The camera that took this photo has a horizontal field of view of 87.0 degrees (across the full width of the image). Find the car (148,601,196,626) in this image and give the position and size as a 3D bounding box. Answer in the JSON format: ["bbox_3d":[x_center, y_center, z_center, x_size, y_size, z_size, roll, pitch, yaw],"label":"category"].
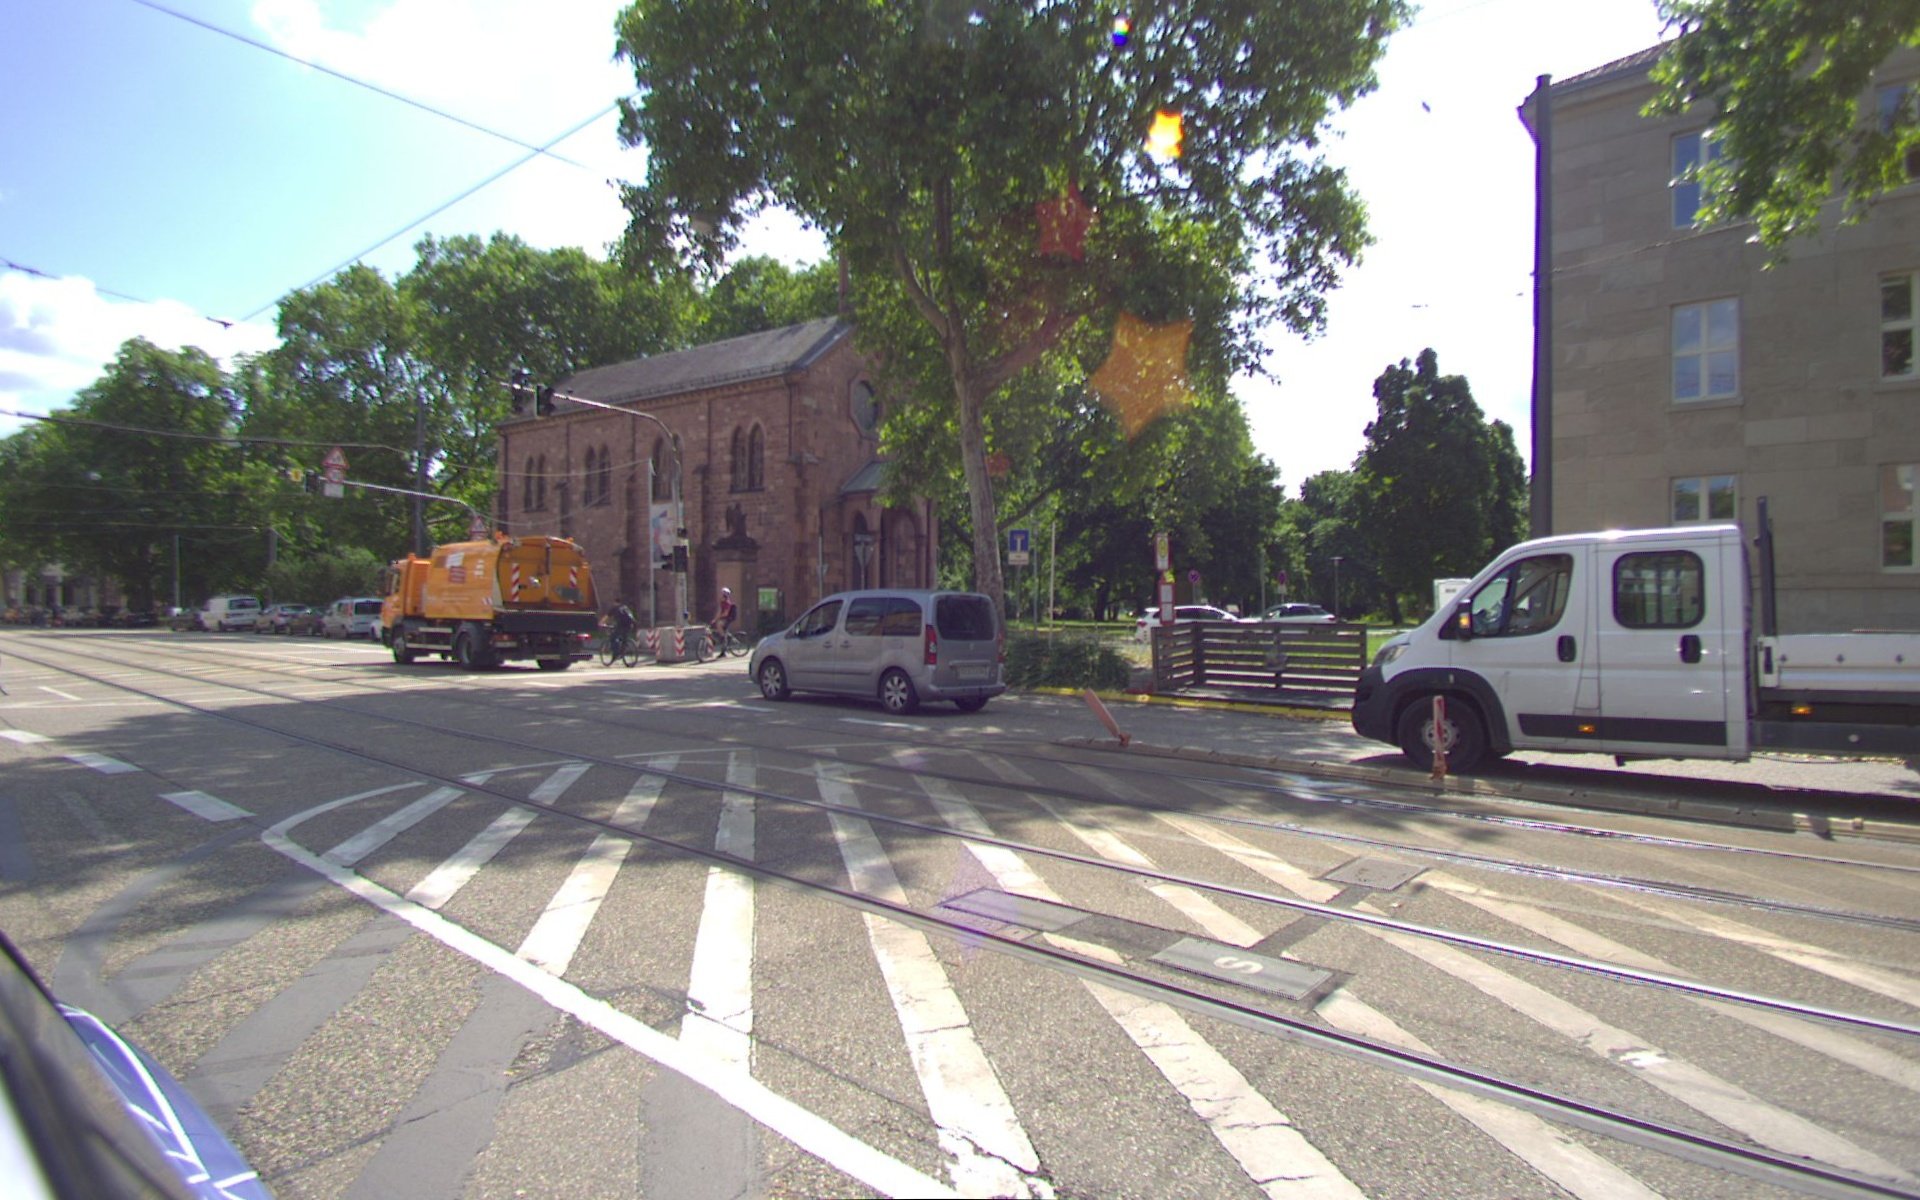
[{"bbox_3d":[-50.465,0.862,64.788,3.999,1.508,1.738,0,1,42],"label":"car"}]

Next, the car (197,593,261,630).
[{"bbox_3d":[-41.522,0.611,57.475,4.081,2.019,1.969,0,1,39],"label":"car"}]

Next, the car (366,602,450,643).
[{"bbox_3d":[-22.257,0.860,40.777,3.999,1.508,1.738,0,1,42],"label":"car"}]

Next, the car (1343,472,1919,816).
[{"bbox_3d":[7.014,0.353,8.226,6.975,2.392,2.232,-1,-3,40],"label":"car"}]

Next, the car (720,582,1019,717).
[{"bbox_3d":[-1.487,0.678,15.438,4.534,1.759,1.901,0,-3,41],"label":"car"}]

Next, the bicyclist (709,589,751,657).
[{"bbox_3d":[-6.300,0.618,27.725,0.662,1.797,0.873,0,2,40],"label":"bicyclist"}]

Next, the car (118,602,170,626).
[{"bbox_3d":[-55.913,0.943,69.316,3.991,1.508,1.742,0,1,35],"label":"car"}]

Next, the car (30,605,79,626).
[{"bbox_3d":[-69.027,1.165,77.147,3.987,1.508,1.743,0,1,32],"label":"car"}]

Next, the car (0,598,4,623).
[{"bbox_3d":[-86.918,0.980,89.364,3.959,2.201,1.756,0,1,13],"label":"car"}]

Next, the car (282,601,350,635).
[{"bbox_3d":[-30.775,0.819,48.330,3.999,1.508,1.738,0,1,42],"label":"car"}]

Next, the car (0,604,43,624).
[{"bbox_3d":[-75.295,1.129,80.758,3.977,1.508,1.748,0,1,25],"label":"car"}]

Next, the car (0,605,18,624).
[{"bbox_3d":[-79.435,1.162,82.965,3.974,1.508,1.749,0,1,23],"label":"car"}]

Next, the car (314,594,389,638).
[{"bbox_3d":[-27.126,0.678,45.074,3.999,1.850,1.738,0,1,42],"label":"car"}]

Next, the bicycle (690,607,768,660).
[{"bbox_3d":[-6.303,0.882,27.724,0.671,1.299,2.061,0,2,40],"label":"bicycle"}]

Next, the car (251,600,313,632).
[{"bbox_3d":[-34.715,0.799,51.794,3.999,1.508,1.738,0,1,42],"label":"car"}]

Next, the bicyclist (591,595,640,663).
[{"bbox_3d":[-8.748,0.722,25.702,1.175,1.699,0.694,0,-1,41],"label":"bicyclist"}]

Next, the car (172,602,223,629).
[{"bbox_3d":[-45.874,0.926,60.870,3.999,1.508,1.738,0,1,42],"label":"car"}]

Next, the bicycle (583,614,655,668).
[{"bbox_3d":[-8.649,1.014,25.617,2.217,1.300,0.697,0,-1,41],"label":"bicycle"}]

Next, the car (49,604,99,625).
[{"bbox_3d":[-65.523,1.064,74.804,3.988,1.508,1.743,0,1,33],"label":"car"}]

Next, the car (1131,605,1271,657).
[{"bbox_3d":[7.883,0.995,33.418,4.364,1.620,1.755,0,0,11],"label":"car"}]

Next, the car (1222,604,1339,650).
[{"bbox_3d":[12.101,1.002,38.409,3.952,1.706,1.757,0,0,7],"label":"car"}]

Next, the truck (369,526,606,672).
[{"bbox_3d":[-11.869,0.010,25.074,7.220,3.130,2.611,0,-2,42],"label":"truck"}]
